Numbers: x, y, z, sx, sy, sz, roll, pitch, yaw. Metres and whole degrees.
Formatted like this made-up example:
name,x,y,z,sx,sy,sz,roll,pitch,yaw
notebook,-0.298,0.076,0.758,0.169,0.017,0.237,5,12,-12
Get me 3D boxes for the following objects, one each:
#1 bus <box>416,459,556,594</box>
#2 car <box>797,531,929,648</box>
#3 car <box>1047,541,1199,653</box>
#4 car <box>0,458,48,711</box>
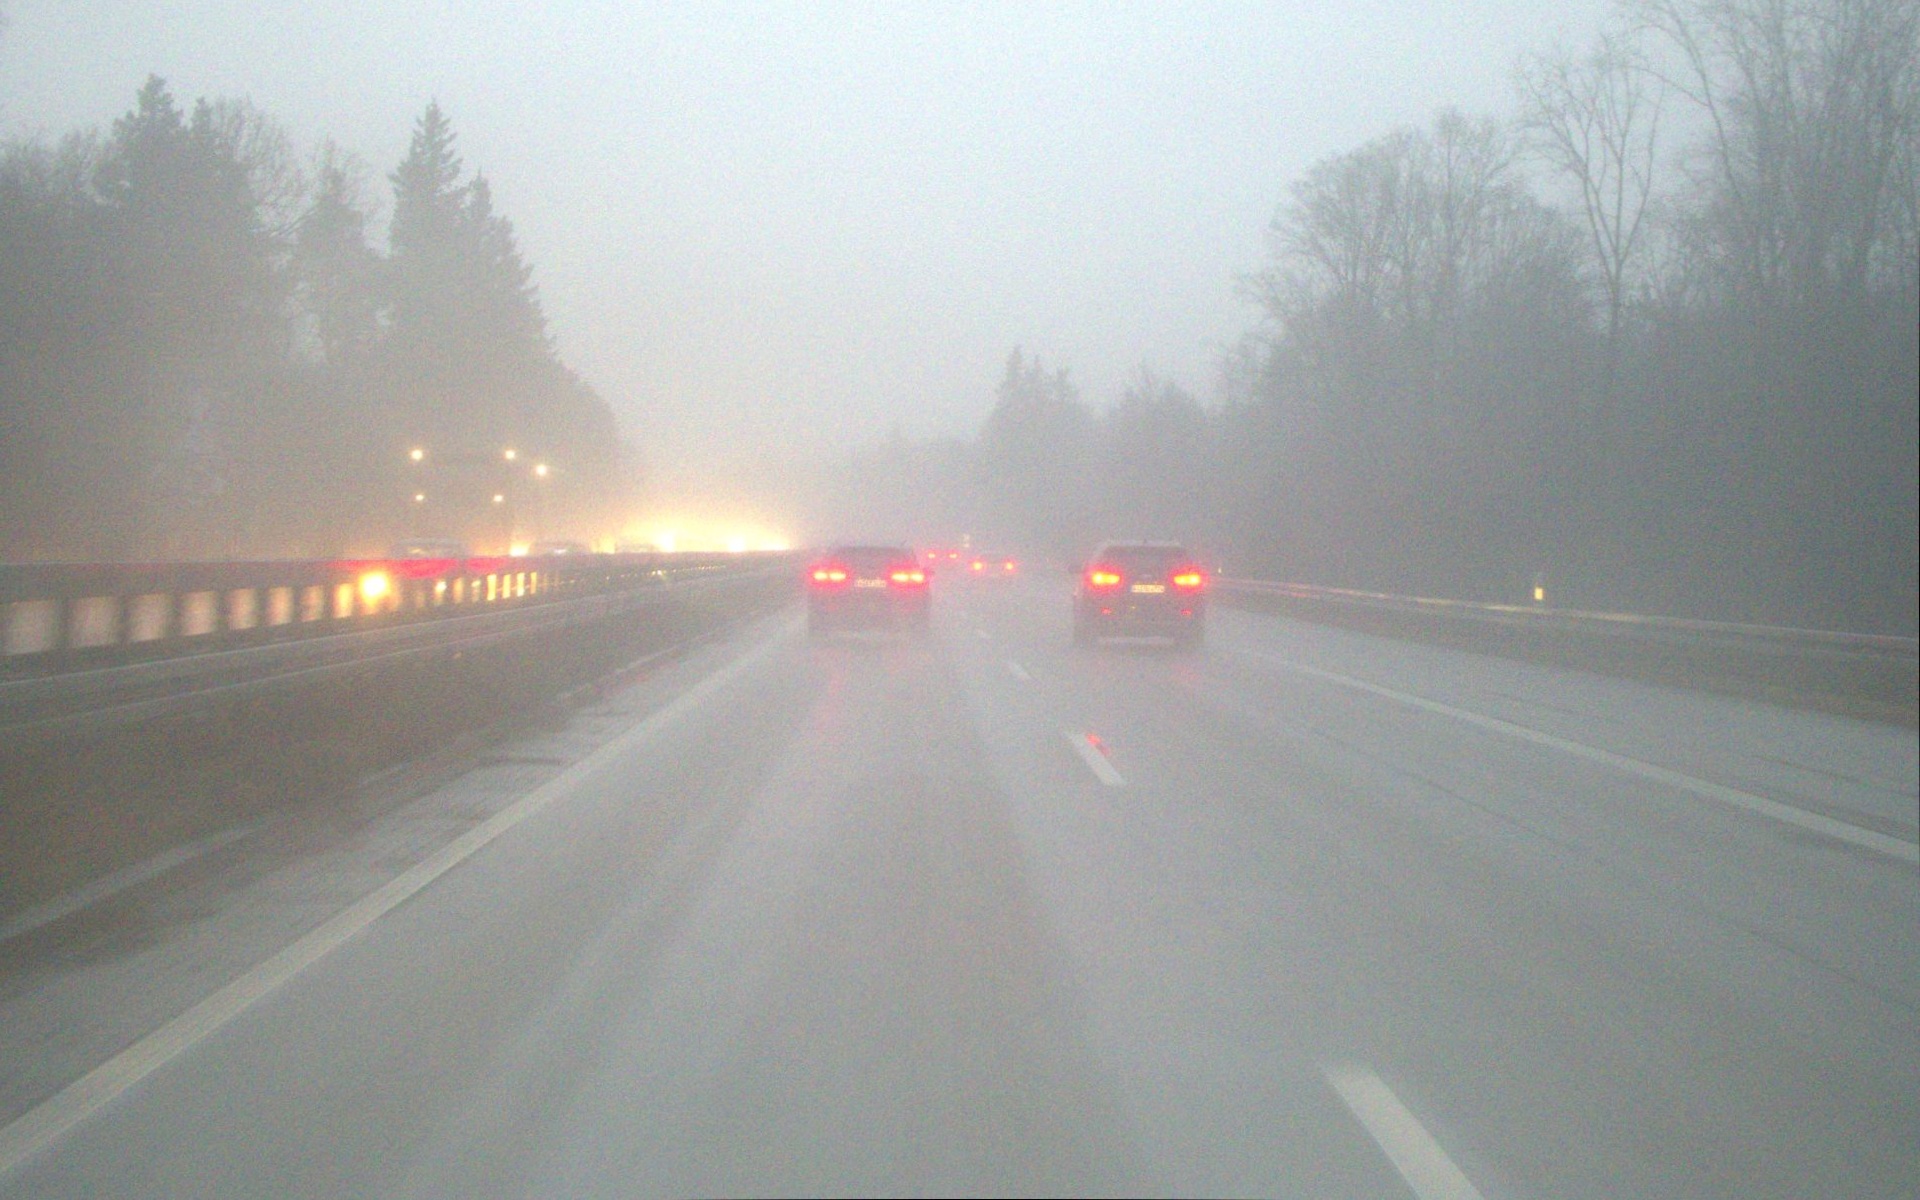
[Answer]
name,x,y,z,sx,sy,sz,roll,pitch,yaw
bus,-13.105,-2.009,95.745,2.726,3.543,9.089,1,1,-1
car,-1.569,-0.185,54.269,1.986,1.761,4.174,0,1,-3
car,2.552,-0.080,54.934,2.070,1.692,4.461,1,1,-2
car,-8.569,-0.160,26.226,1.993,2.007,4.393,3,1,0
